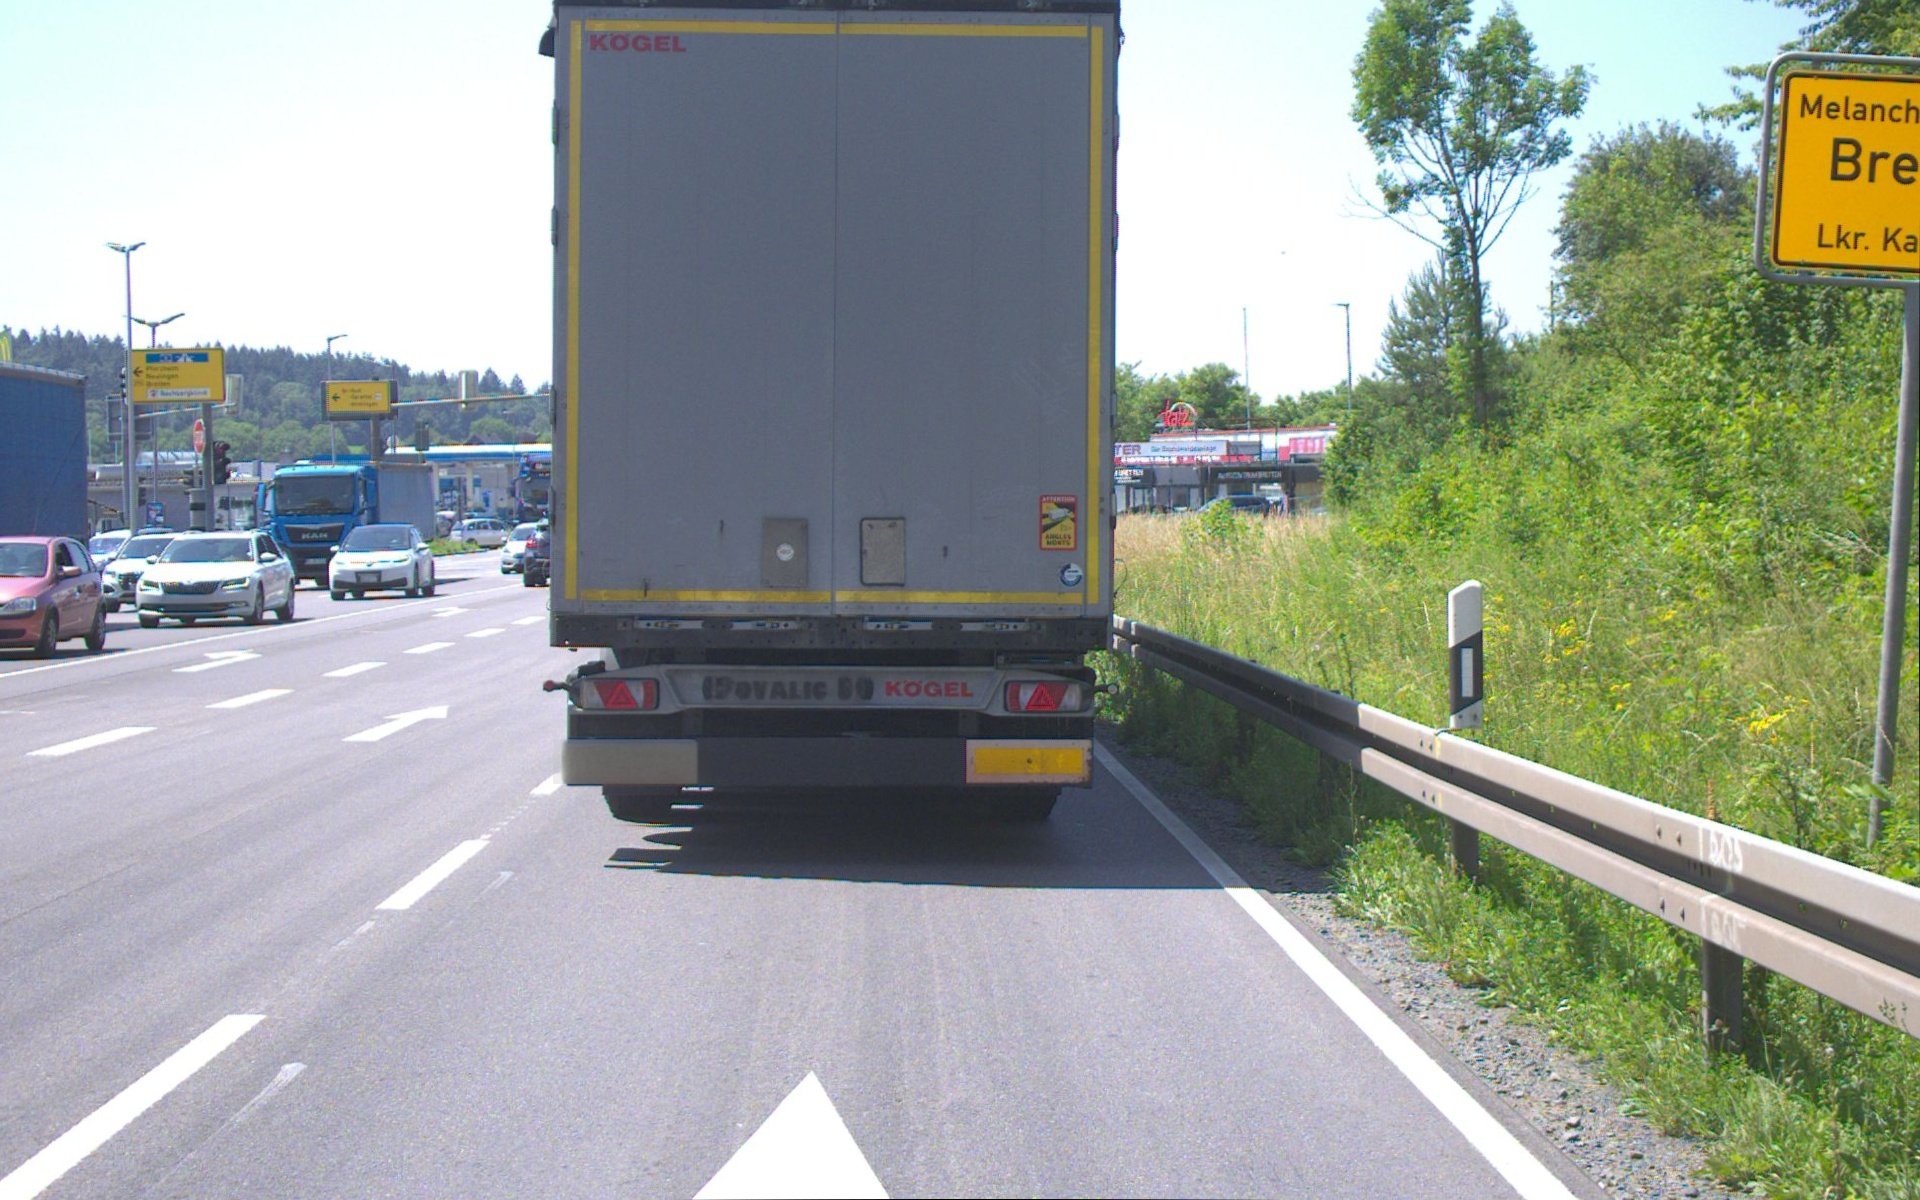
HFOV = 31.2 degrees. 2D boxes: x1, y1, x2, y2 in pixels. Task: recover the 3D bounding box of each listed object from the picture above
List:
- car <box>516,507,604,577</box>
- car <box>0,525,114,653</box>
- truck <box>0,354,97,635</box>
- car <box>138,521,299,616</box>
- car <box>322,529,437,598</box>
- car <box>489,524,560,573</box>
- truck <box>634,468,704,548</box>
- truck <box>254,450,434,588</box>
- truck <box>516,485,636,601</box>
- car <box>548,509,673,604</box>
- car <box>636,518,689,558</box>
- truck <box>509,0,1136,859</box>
[{"bbox_3d":[-9.562,-1.394,82.363,1.793,1.621,4.370,0,1,-3],"label":"car"},{"bbox_3d":[-11.372,-0.149,40.818,1.767,1.441,3.776,-1,1,-1],"label":"car"},{"bbox_3d":[-15.694,-1.501,48.510,2.968,4.162,16.576,-1,1,-1],"label":"truck"},{"bbox_3d":[-11.579,-0.514,53.912,1.700,1.410,4.563,0,1,-2],"label":"car"},{"bbox_3d":[-12.254,-0.792,72.788,1.761,1.423,4.180,0,1,-1],"label":"car"},{"bbox_3d":[-12.947,-1.557,102.408,1.789,1.422,4.264,0,1,-3],"label":"car"},{"bbox_3d":[-15.110,-4.753,179.472,2.934,3.936,14.239,-1,1,-2],"label":"truck"},{"bbox_3d":[-15.918,-2.074,89.678,2.846,3.340,11.483,0,1,-1],"label":"truck"},{"bbox_3d":[-15.424,-2.407,139.545,3.146,4.334,17.544,-1,2,-1],"label":"truck"},{"bbox_3d":[-6.338,-0.811,62.699,1.804,1.664,4.292,1,1,0],"label":"car"},{"bbox_3d":[-11.780,-2.442,136.297,1.740,1.498,4.406,-2,0,-1],"label":"car"},{"bbox_3d":[-0.885,-1.221,23.623,2.755,4.623,16.656,0,0,-2],"label":"truck"}]
